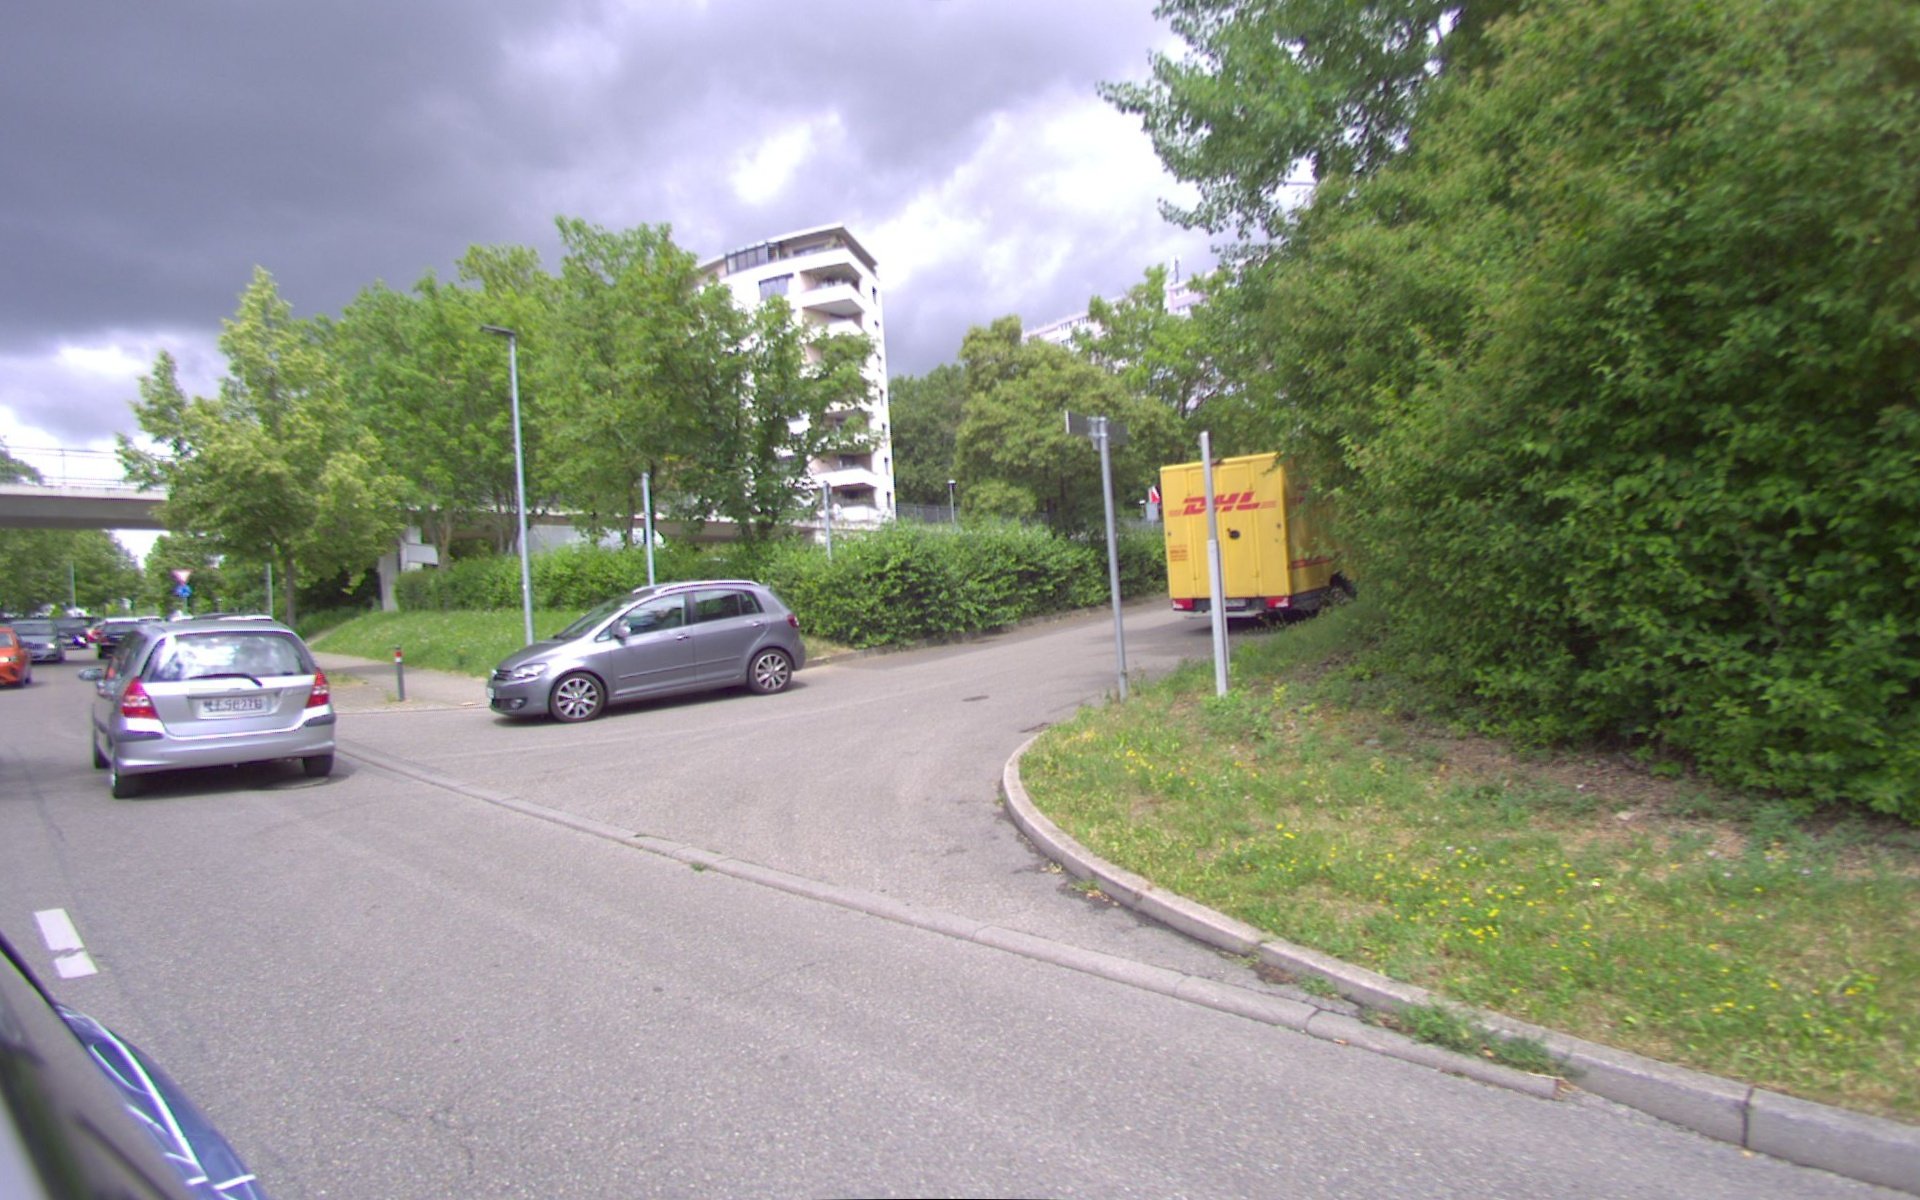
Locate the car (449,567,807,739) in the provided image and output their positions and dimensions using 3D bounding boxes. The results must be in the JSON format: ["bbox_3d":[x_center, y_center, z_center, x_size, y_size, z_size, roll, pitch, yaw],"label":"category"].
[{"bbox_3d":[-4.312,0.568,13.412,4.054,1.674,1.762,-6,3,-36],"label":"car"}]

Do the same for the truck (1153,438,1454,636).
[{"bbox_3d":[6.177,-1.195,17.490,2.234,2.828,6.480,-2,4,44],"label":"truck"}]

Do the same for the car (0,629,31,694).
[{"bbox_3d":[-23.280,1.477,23.882,1.834,1.453,4.006,-2,-1,-41],"label":"car"}]

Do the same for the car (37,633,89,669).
[{"bbox_3d":[-45.433,2.558,51.238,1.755,1.430,4.004,-5,4,-44],"label":"car"}]

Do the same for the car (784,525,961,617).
[{"bbox_3d":[-2.157,-0.771,25.587,3.943,1.872,2.002,-9,6,-44],"label":"car"}]

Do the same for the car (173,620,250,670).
[{"bbox_3d":[-26.159,1.510,35.302,1.786,1.491,4.493,-4,2,-41],"label":"car"}]

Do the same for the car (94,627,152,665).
[{"bbox_3d":[-33.973,1.828,41.103,1.730,1.430,4.375,-1,-1,-40],"label":"car"}]

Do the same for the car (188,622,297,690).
[{"bbox_3d":[-17.028,1.251,23.943,1.785,1.415,4.055,-1,0,-40],"label":"car"}]

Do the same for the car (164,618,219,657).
[{"bbox_3d":[-34.220,1.644,45.136,1.784,1.582,3.731,-1,0,-35],"label":"car"}]

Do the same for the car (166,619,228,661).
[{"bbox_3d":[-30.747,1.582,40.885,1.785,1.466,3.870,-5,2,-35],"label":"car"}]

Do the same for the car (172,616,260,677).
[{"bbox_3d":[-22.722,1.369,30.834,1.786,1.596,3.991,-4,2,-41],"label":"car"}]

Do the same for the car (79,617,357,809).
[{"bbox_3d":[-7.415,0.933,9.976,1.819,1.467,3.657,-1,0,-42],"label":"car"}]

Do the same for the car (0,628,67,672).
[{"bbox_3d":[-34.266,1.808,37.329,1.753,1.463,4.008,-1,0,-38],"label":"car"}]

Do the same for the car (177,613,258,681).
[{"bbox_3d":[-20.073,1.229,27.324,1.574,1.596,2.690,-6,3,-38],"label":"car"}]
